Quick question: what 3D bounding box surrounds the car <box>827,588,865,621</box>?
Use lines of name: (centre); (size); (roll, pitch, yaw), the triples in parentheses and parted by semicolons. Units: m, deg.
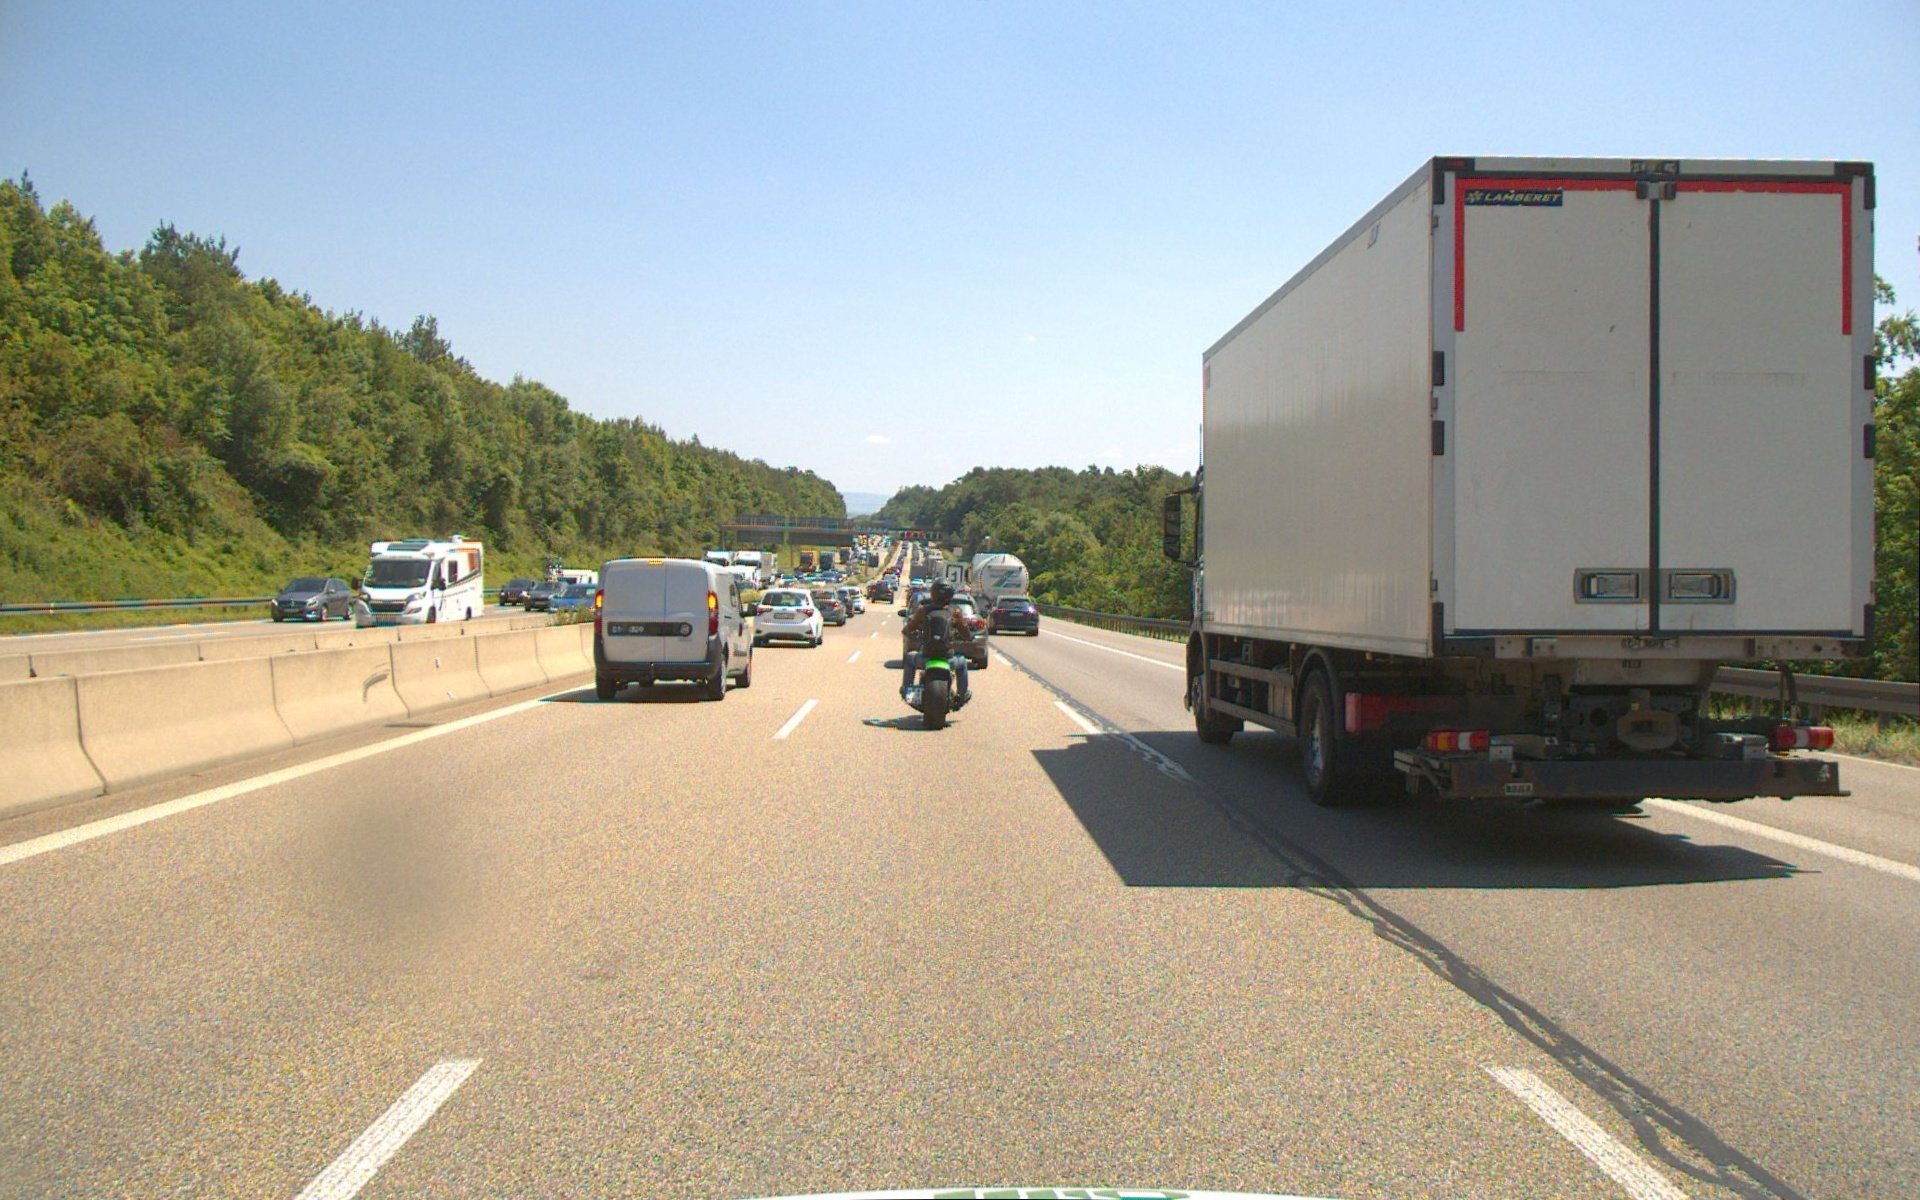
car: (-5.709, 0.216, 83.271); (1.665, 1.504, 3.999); (2, 1, -2)

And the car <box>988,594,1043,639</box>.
car: (2.080, 0.604, 62.697); (1.792, 1.496, 3.999); (3, 1, -2)

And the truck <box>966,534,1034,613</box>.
truck: (1.926, -1.233, 82.954); (2.927, 3.735, 9.284); (0, 0, -2)

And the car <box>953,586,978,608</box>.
car: (0.395, -0.247, 124.433); (1.751, 1.582, 3.802); (2, 1, -2)

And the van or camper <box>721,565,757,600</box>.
van or camper: (-18.401, -1.426, 137.837); (2.185, 2.809, 6.835); (1, 0, -1)

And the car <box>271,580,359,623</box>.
car: (-23.216, 0.017, 59.688); (1.545, 1.487, 4.388); (0, 1, -1)

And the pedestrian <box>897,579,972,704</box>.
pedestrian: (-0.287, 0.460, 18.929); (0.832, 1.385, 0.961); (0, 0, -1)

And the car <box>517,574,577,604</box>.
car: (-19.959, -0.527, 80.117); (1.764, 1.370, 4.722); (1, 0, -1)

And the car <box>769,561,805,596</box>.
car: (-10.051, -1.238, 96.209); (1.854, 1.982, 3.997); (0, 0, -3)

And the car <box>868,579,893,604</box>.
car: (-6.511, -0.706, 135.595); (1.842, 1.892, 3.999); (2, 1, -1)

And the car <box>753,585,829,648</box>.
car: (-4.460, 0.408, 44.022); (1.665, 1.504, 3.999); (2, 1, -2)

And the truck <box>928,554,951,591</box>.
truck: (-3.130, -4.095, 245.594); (2.972, 5.228, 9.980); (3, 1, -2)

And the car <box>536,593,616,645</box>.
car: (-12.104, 0.563, 52.376); (1.676, 1.564, 4.127); (0, 1, -2)

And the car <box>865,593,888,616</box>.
car: (-7.558, 0.401, 150.626); (1.953, 2.049, 3.999); (0, 0, -1)

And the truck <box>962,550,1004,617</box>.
truck: (1.237, -0.888, 91.875); (1.954, 3.584, 4.747); (0, 0, -4)

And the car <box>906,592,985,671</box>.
car: (-0.257, 0.606, 34.522); (1.501, 1.536, 4.001); (0, 0, 1)

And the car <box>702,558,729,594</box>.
car: (-27.042, -2.670, 182.835); (2.399, 3.941, 4.564); (0, 0, -2)

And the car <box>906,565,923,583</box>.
car: (-6.806, -3.869, 247.313); (2.454, 2.632, 5.015); (2, 1, -2)

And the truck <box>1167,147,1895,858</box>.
truck: (3.808, -0.587, 14.117); (2.633, 3.944, 9.778); (-1, 0, -1)

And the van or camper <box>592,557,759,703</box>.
van or camper: (-4.007, 0.396, 23.913); (1.759, 1.925, 4.159); (0, 0, -1)

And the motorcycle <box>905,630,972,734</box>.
motorcycle: (-0.241, 0.907, 18.950); (0.677, 1.033, 2.121); (3, 0, 0)

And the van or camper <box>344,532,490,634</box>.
van or camper: (-15.809, -0.470, 48.614); (2.224, 2.783, 6.803); (0, 0, -2)

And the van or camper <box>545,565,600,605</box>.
van or camper: (-19.996, -0.798, 85.511); (2.034, 2.011, 3.704); (0, 0, -1)

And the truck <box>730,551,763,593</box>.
truck: (-22.531, -2.929, 174.533); (2.783, 4.287, 5.658); (1, 0, -2)

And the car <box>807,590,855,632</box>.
car: (-5.142, 0.416, 66.133); (1.665, 1.504, 3.999); (2, 1, -2)

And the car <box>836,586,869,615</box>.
car: (-6.143, 0.019, 94.918); (1.665, 1.504, 3.999); (2, 1, -2)

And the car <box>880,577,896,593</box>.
car: (-9.172, -1.893, 210.990); (1.890, 2.049, 3.999); (0, 0, -1)

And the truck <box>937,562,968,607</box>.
truck: (-0.893, -1.765, 181.554); (2.972, 4.621, 9.980); (3, 1, -2)
